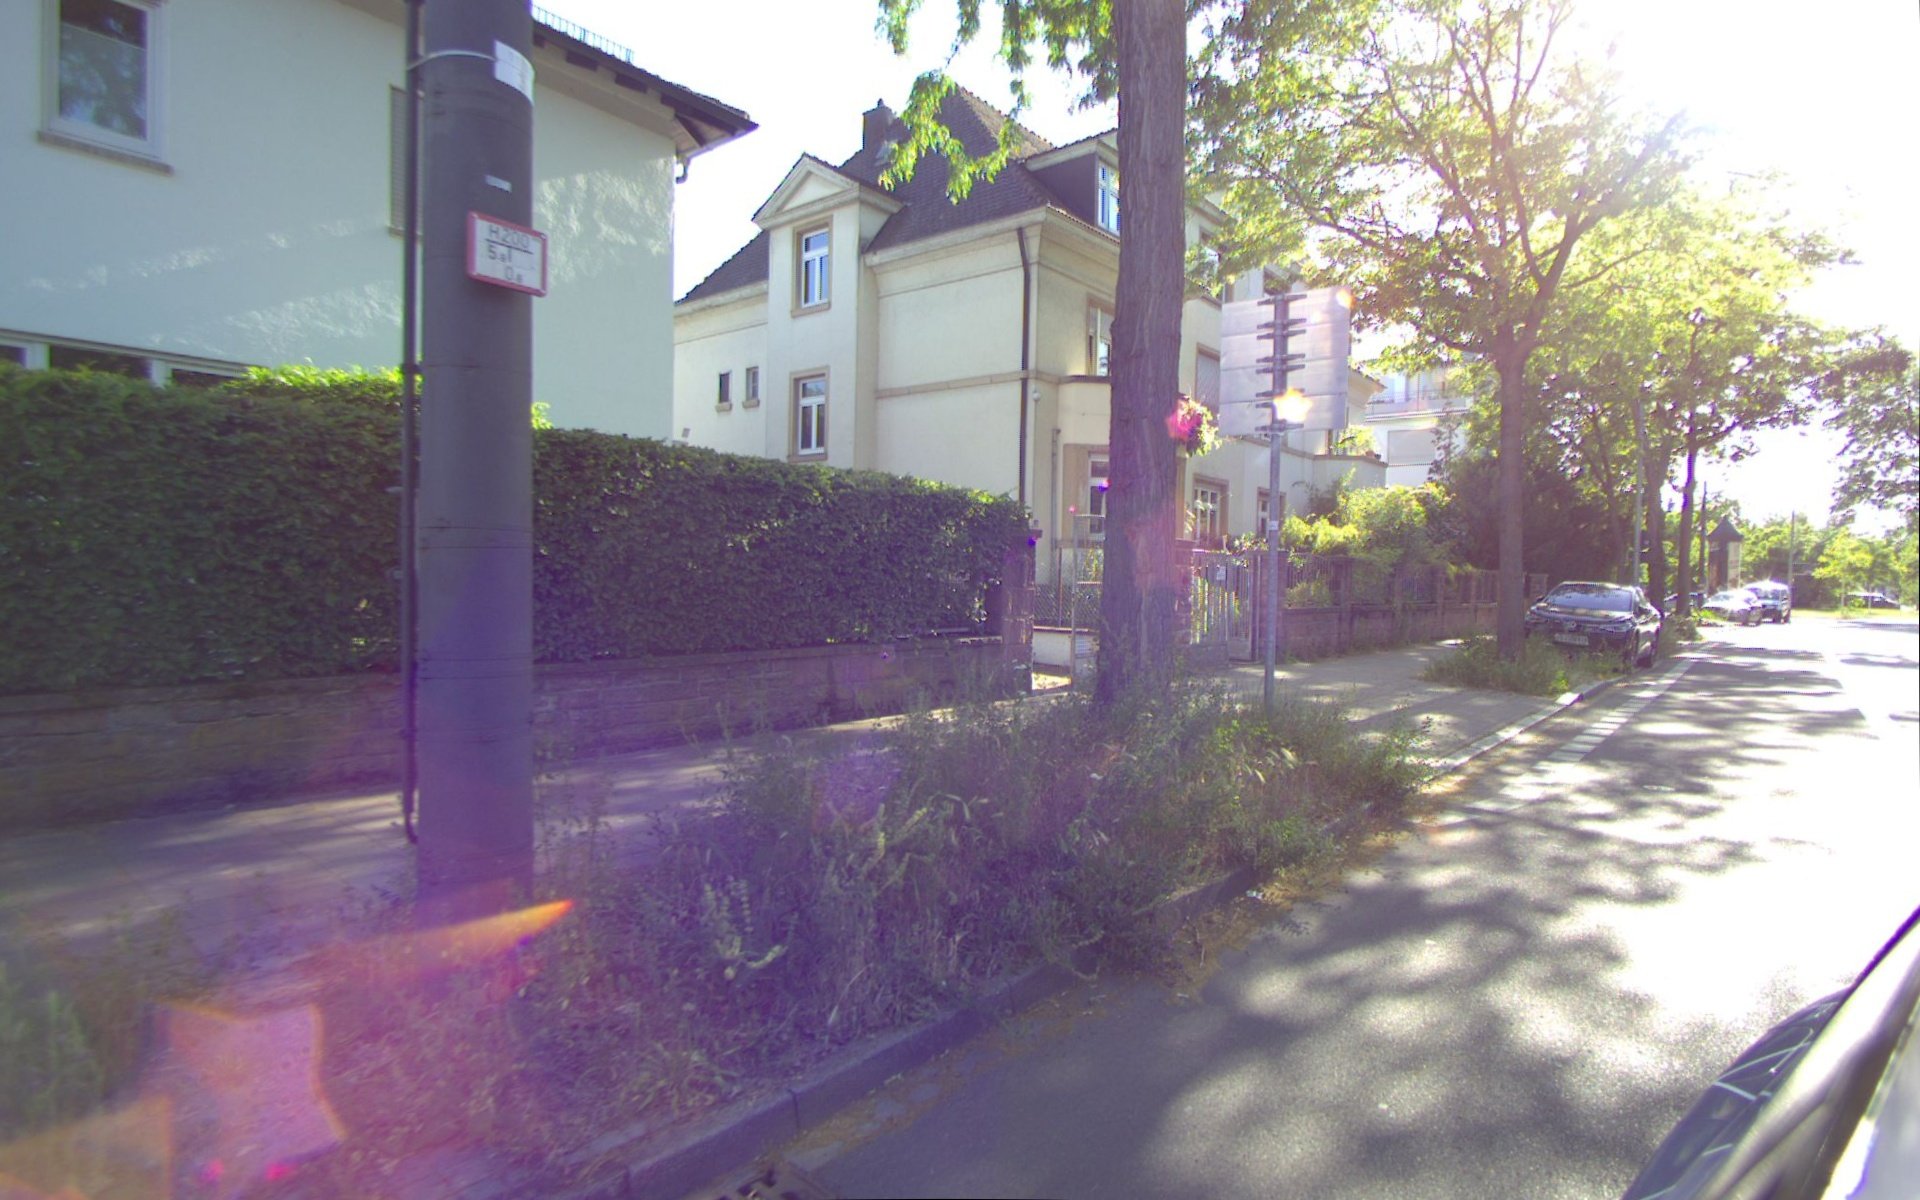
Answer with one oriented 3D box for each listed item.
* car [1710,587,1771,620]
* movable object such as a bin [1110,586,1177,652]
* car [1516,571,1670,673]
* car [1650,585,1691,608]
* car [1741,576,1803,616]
[{"bbox_3d":[34.585,0.102,44.798,1.716,1.356,3.855,2,2,44],"label":"car"},{"bbox_3d":[3.122,0.305,17.273,0.712,1.068,0.969,0,1,-23],"label":"movable object such as a bin"},{"bbox_3d":[12.443,0.324,19.790,1.991,1.765,4.110,1,2,40],"label":"car"},{"bbox_3d":[47.286,-0.268,67.289,1.736,1.460,3.939,1,2,42],"label":"car"},{"bbox_3d":[39.319,-0.233,48.966,1.901,1.852,4.180,2,2,45],"label":"car"}]
